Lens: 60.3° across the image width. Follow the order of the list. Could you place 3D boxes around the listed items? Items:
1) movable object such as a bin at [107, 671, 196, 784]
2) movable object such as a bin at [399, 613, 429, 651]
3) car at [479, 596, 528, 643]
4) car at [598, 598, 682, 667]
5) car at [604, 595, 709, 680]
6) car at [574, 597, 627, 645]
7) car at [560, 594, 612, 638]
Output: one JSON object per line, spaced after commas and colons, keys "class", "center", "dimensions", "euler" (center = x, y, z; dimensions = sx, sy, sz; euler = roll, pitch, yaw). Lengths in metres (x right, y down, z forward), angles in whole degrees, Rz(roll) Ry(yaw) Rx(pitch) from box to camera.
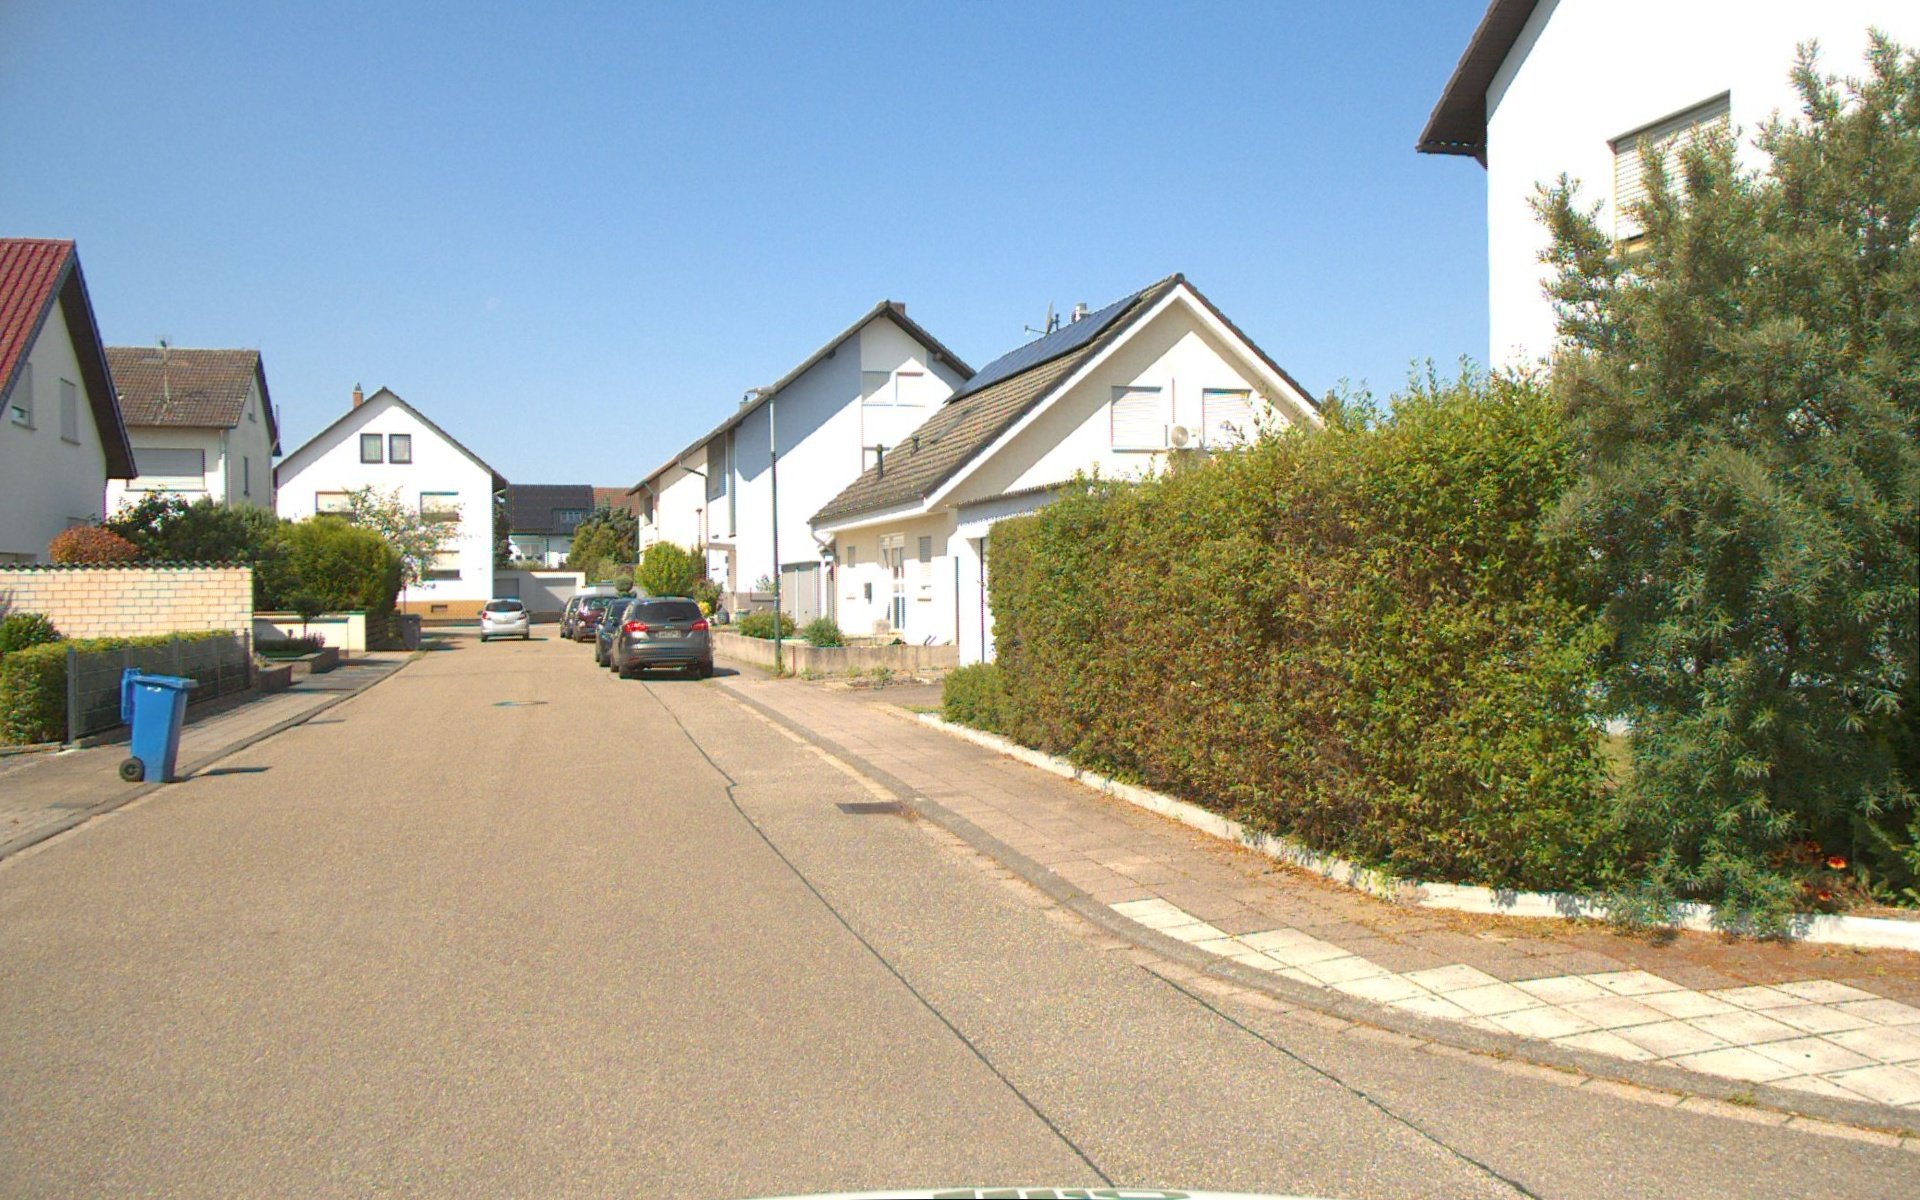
{"class": "movable object such as a bin", "center": [-7.049, 1.099, 14.440], "dimensions": [0.573, 0.932, 0.596], "euler": [0, 0, -15]}
{"class": "movable object such as a bin", "center": [-16.116, 0.934, 48.848], "dimensions": [0.805, 1.082, 0.608], "euler": [-1, 0, -16]}
{"class": "car", "center": [-16.464, 0.676, 59.708], "dimensions": [1.618, 1.609, 3.794], "euler": [-1, 0, -15]}
{"class": "car", "center": [-7.390, 0.705, 37.936], "dimensions": [1.688, 1.464, 4.487], "euler": [-1, 0, -14]}
{"class": "car", "center": [-5.959, 0.690, 32.189], "dimensions": [1.615, 1.504, 3.983], "euler": [1, 0, -16]}
{"class": "car", "center": [-12.605, 0.698, 57.823], "dimensions": [1.618, 1.609, 4.130], "euler": [-1, 0, -15]}
{"class": "car", "center": [-14.137, 0.584, 62.378], "dimensions": [1.619, 1.573, 4.028], "euler": [-1, 0, -17]}
